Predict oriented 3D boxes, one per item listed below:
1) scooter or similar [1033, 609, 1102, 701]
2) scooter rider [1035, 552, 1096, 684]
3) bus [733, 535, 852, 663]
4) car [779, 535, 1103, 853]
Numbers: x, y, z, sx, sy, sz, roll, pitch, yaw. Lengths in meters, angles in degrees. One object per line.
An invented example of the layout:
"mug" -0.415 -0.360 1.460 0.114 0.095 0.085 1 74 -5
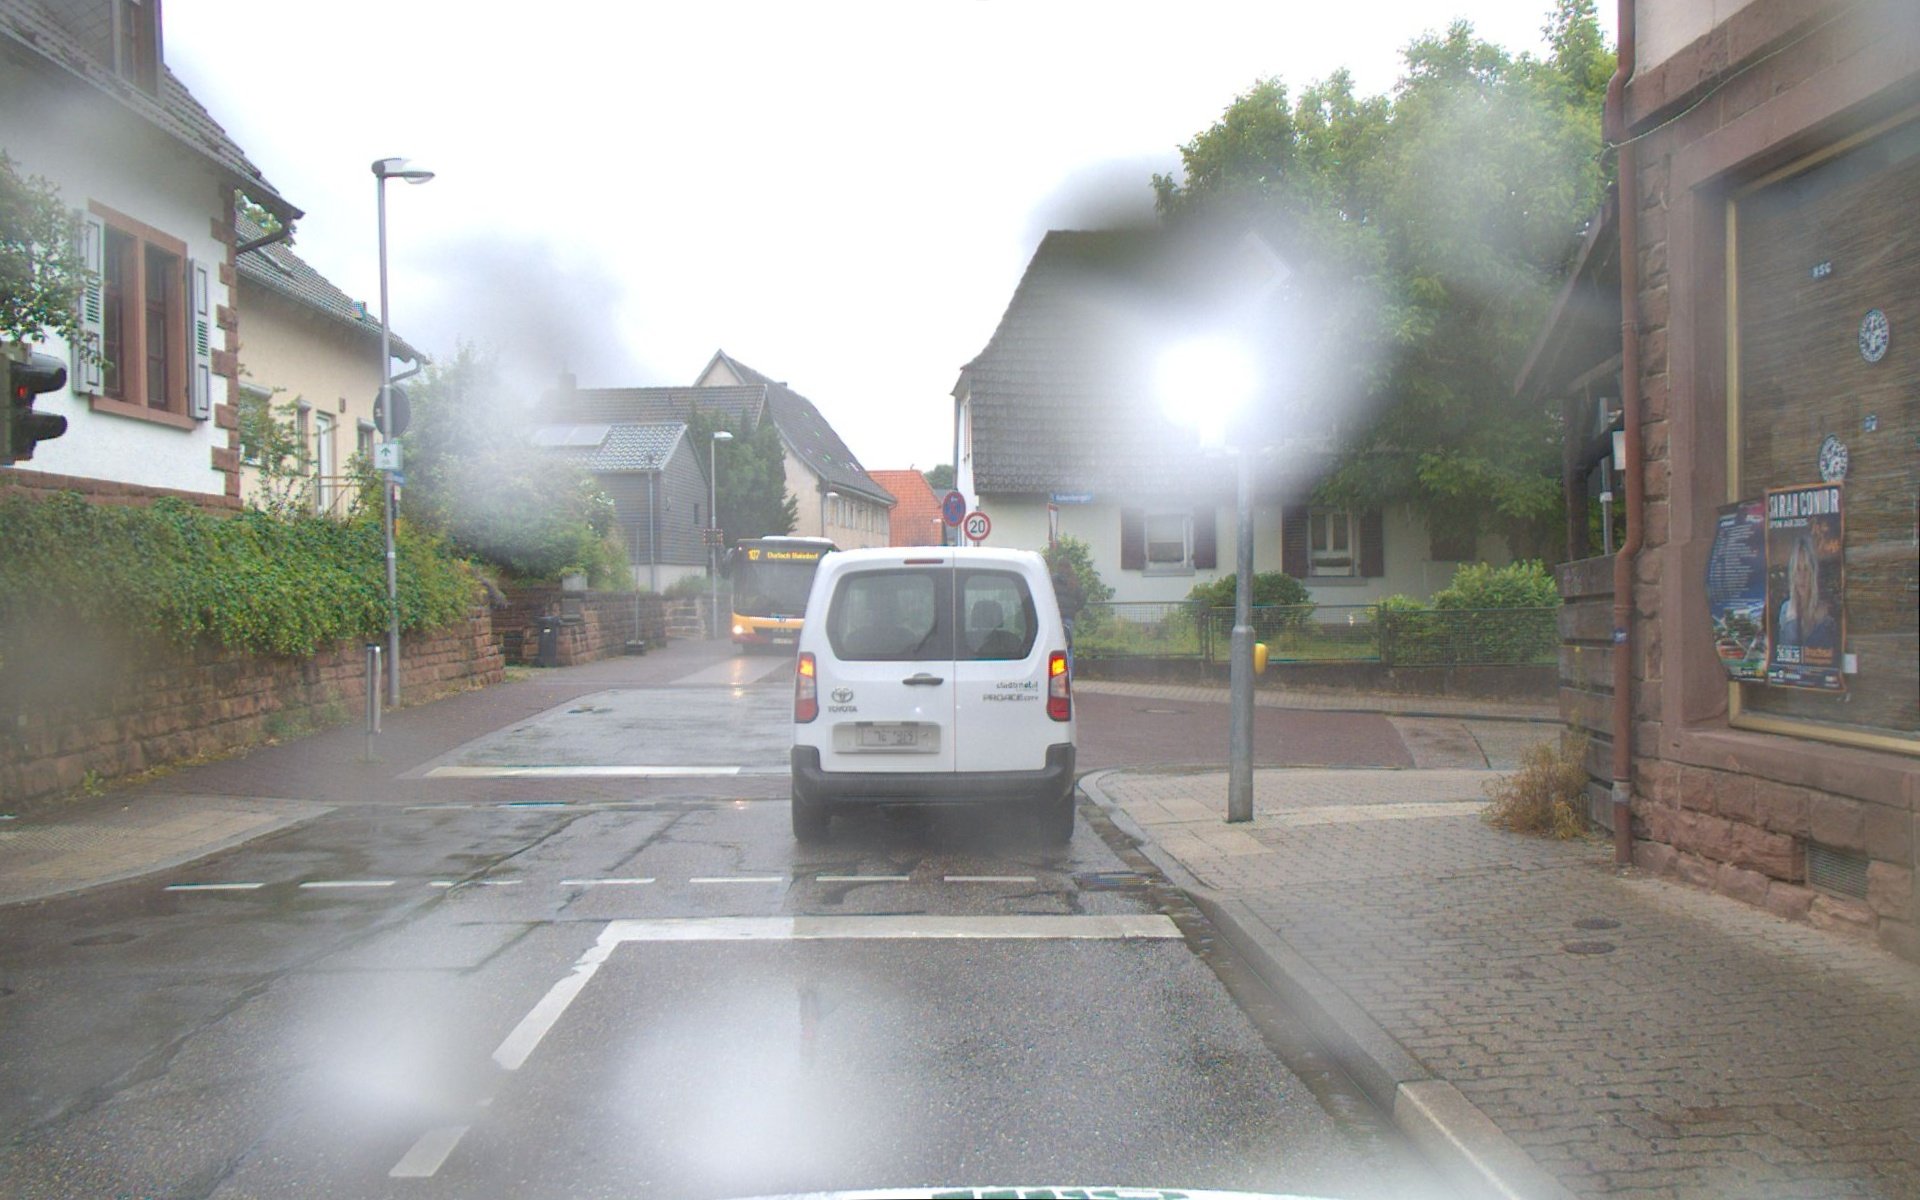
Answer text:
"scooter or similar" 1.436 0.716 22.335 0.609 1.146 1.399 0 2 -10
"scooter rider" 1.420 0.230 22.424 0.717 1.763 0.517 0 2 -10
"bus" -4.372 -0.214 45.413 2.596 3.051 12.188 0 2 -3
"car" -0.180 0.536 11.484 1.856 1.825 3.812 1 0 -2
